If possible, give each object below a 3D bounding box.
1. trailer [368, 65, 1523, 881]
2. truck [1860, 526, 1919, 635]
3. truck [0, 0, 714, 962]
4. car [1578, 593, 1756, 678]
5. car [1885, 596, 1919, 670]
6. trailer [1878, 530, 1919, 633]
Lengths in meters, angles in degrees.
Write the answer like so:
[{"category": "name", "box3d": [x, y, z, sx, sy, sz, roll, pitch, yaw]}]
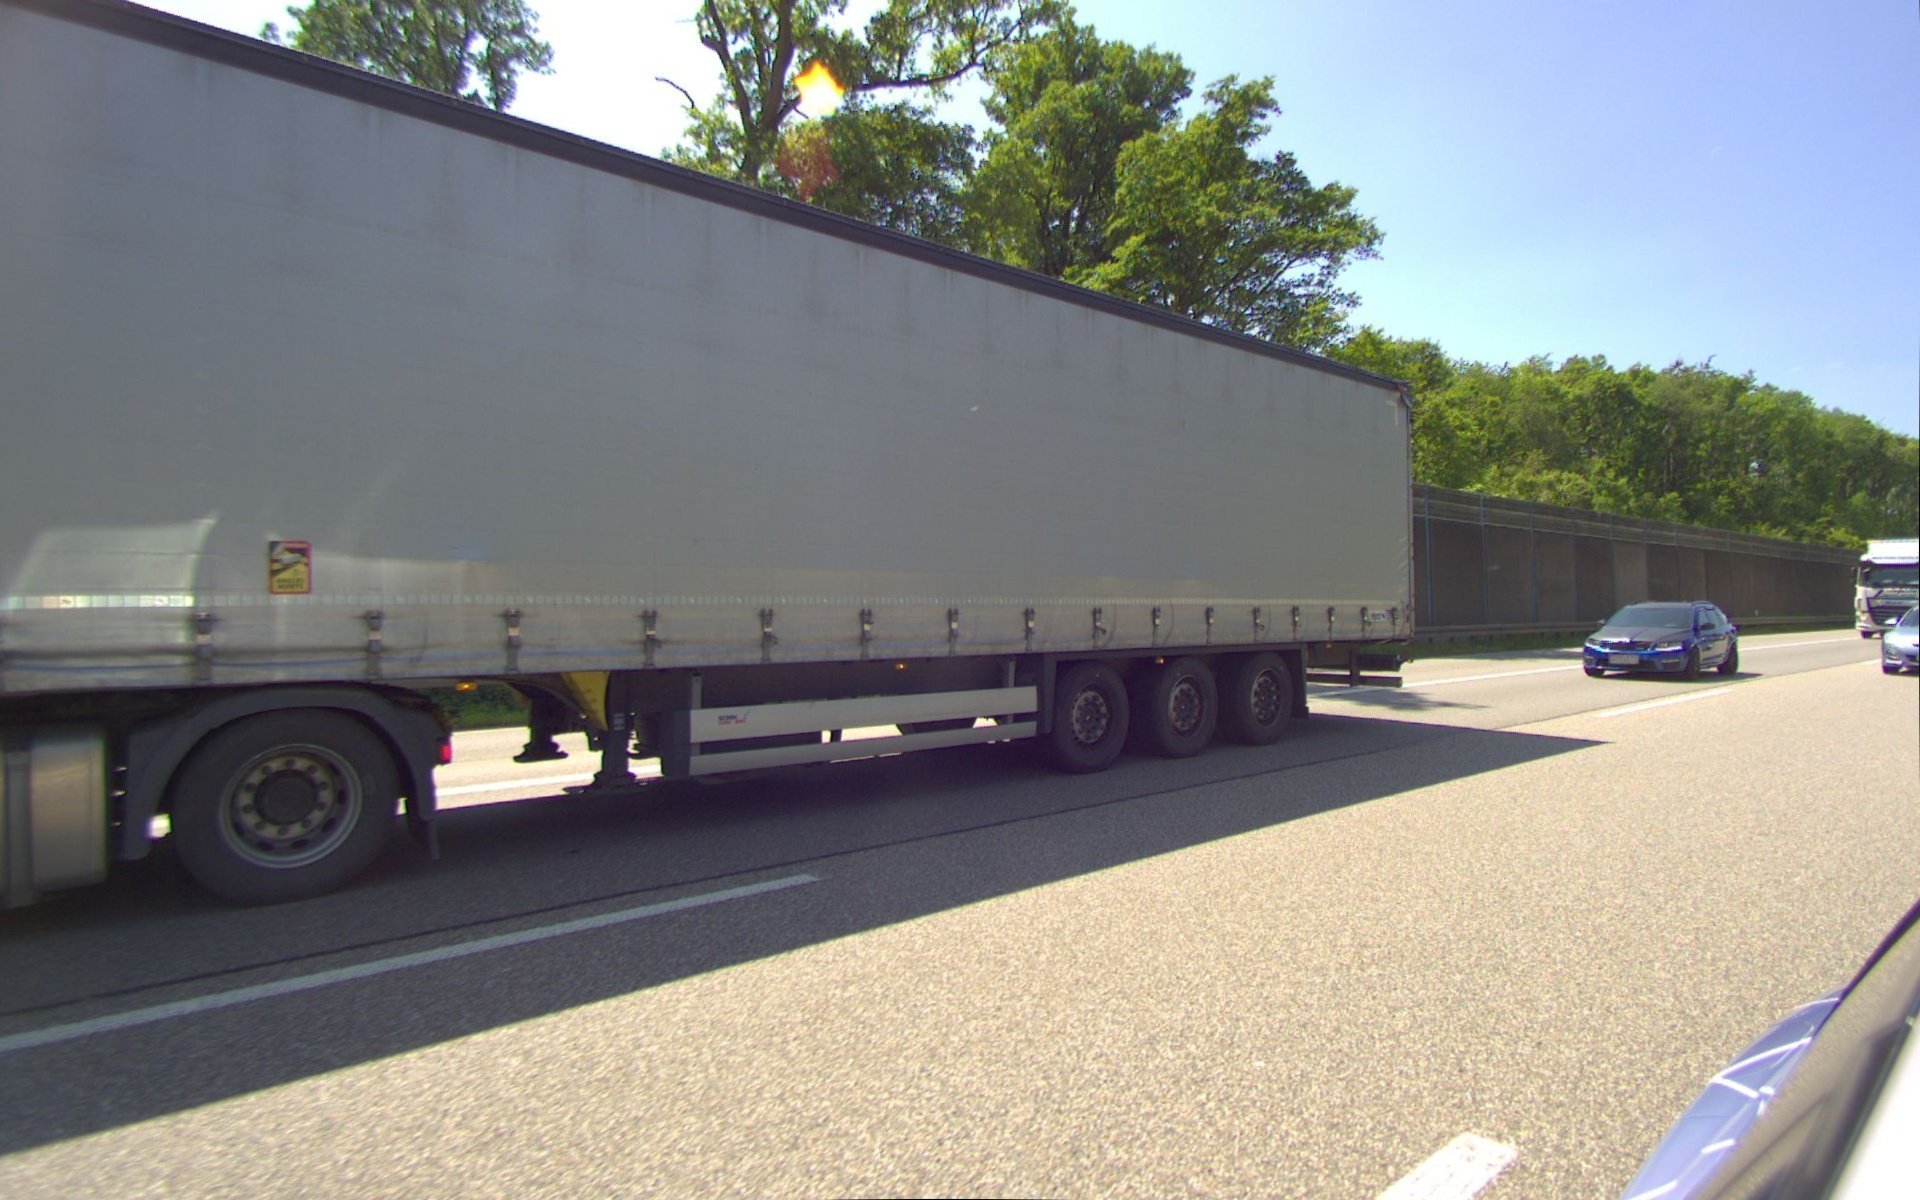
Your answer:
[{"category": "trailer", "box3d": [1.741, -0.723, 10.464, 13.352, 4.142, 2.603, -1, 0, -40]}, {"category": "truck", "box3d": [39.456, -0.777, 41.510, 5.321, 4.269, 2.812, 0, -1, -38]}, {"category": "truck", "box3d": [-4.376, -0.649, 5.224, 5.455, 4.142, 2.603, -1, 0, -41]}, {"category": "car", "box3d": [14.004, 0.632, 19.970, 4.102, 1.512, 1.859, 0, -1, -40]}, {"category": "car", "box3d": [20.591, 0.642, 20.740, 4.102, 1.452, 1.859, 0, -1, -40]}, {"category": "trailer", "box3d": [44.974, -0.768, 45.785, 13.217, 4.269, 2.821, 0, -1, -38]}]
